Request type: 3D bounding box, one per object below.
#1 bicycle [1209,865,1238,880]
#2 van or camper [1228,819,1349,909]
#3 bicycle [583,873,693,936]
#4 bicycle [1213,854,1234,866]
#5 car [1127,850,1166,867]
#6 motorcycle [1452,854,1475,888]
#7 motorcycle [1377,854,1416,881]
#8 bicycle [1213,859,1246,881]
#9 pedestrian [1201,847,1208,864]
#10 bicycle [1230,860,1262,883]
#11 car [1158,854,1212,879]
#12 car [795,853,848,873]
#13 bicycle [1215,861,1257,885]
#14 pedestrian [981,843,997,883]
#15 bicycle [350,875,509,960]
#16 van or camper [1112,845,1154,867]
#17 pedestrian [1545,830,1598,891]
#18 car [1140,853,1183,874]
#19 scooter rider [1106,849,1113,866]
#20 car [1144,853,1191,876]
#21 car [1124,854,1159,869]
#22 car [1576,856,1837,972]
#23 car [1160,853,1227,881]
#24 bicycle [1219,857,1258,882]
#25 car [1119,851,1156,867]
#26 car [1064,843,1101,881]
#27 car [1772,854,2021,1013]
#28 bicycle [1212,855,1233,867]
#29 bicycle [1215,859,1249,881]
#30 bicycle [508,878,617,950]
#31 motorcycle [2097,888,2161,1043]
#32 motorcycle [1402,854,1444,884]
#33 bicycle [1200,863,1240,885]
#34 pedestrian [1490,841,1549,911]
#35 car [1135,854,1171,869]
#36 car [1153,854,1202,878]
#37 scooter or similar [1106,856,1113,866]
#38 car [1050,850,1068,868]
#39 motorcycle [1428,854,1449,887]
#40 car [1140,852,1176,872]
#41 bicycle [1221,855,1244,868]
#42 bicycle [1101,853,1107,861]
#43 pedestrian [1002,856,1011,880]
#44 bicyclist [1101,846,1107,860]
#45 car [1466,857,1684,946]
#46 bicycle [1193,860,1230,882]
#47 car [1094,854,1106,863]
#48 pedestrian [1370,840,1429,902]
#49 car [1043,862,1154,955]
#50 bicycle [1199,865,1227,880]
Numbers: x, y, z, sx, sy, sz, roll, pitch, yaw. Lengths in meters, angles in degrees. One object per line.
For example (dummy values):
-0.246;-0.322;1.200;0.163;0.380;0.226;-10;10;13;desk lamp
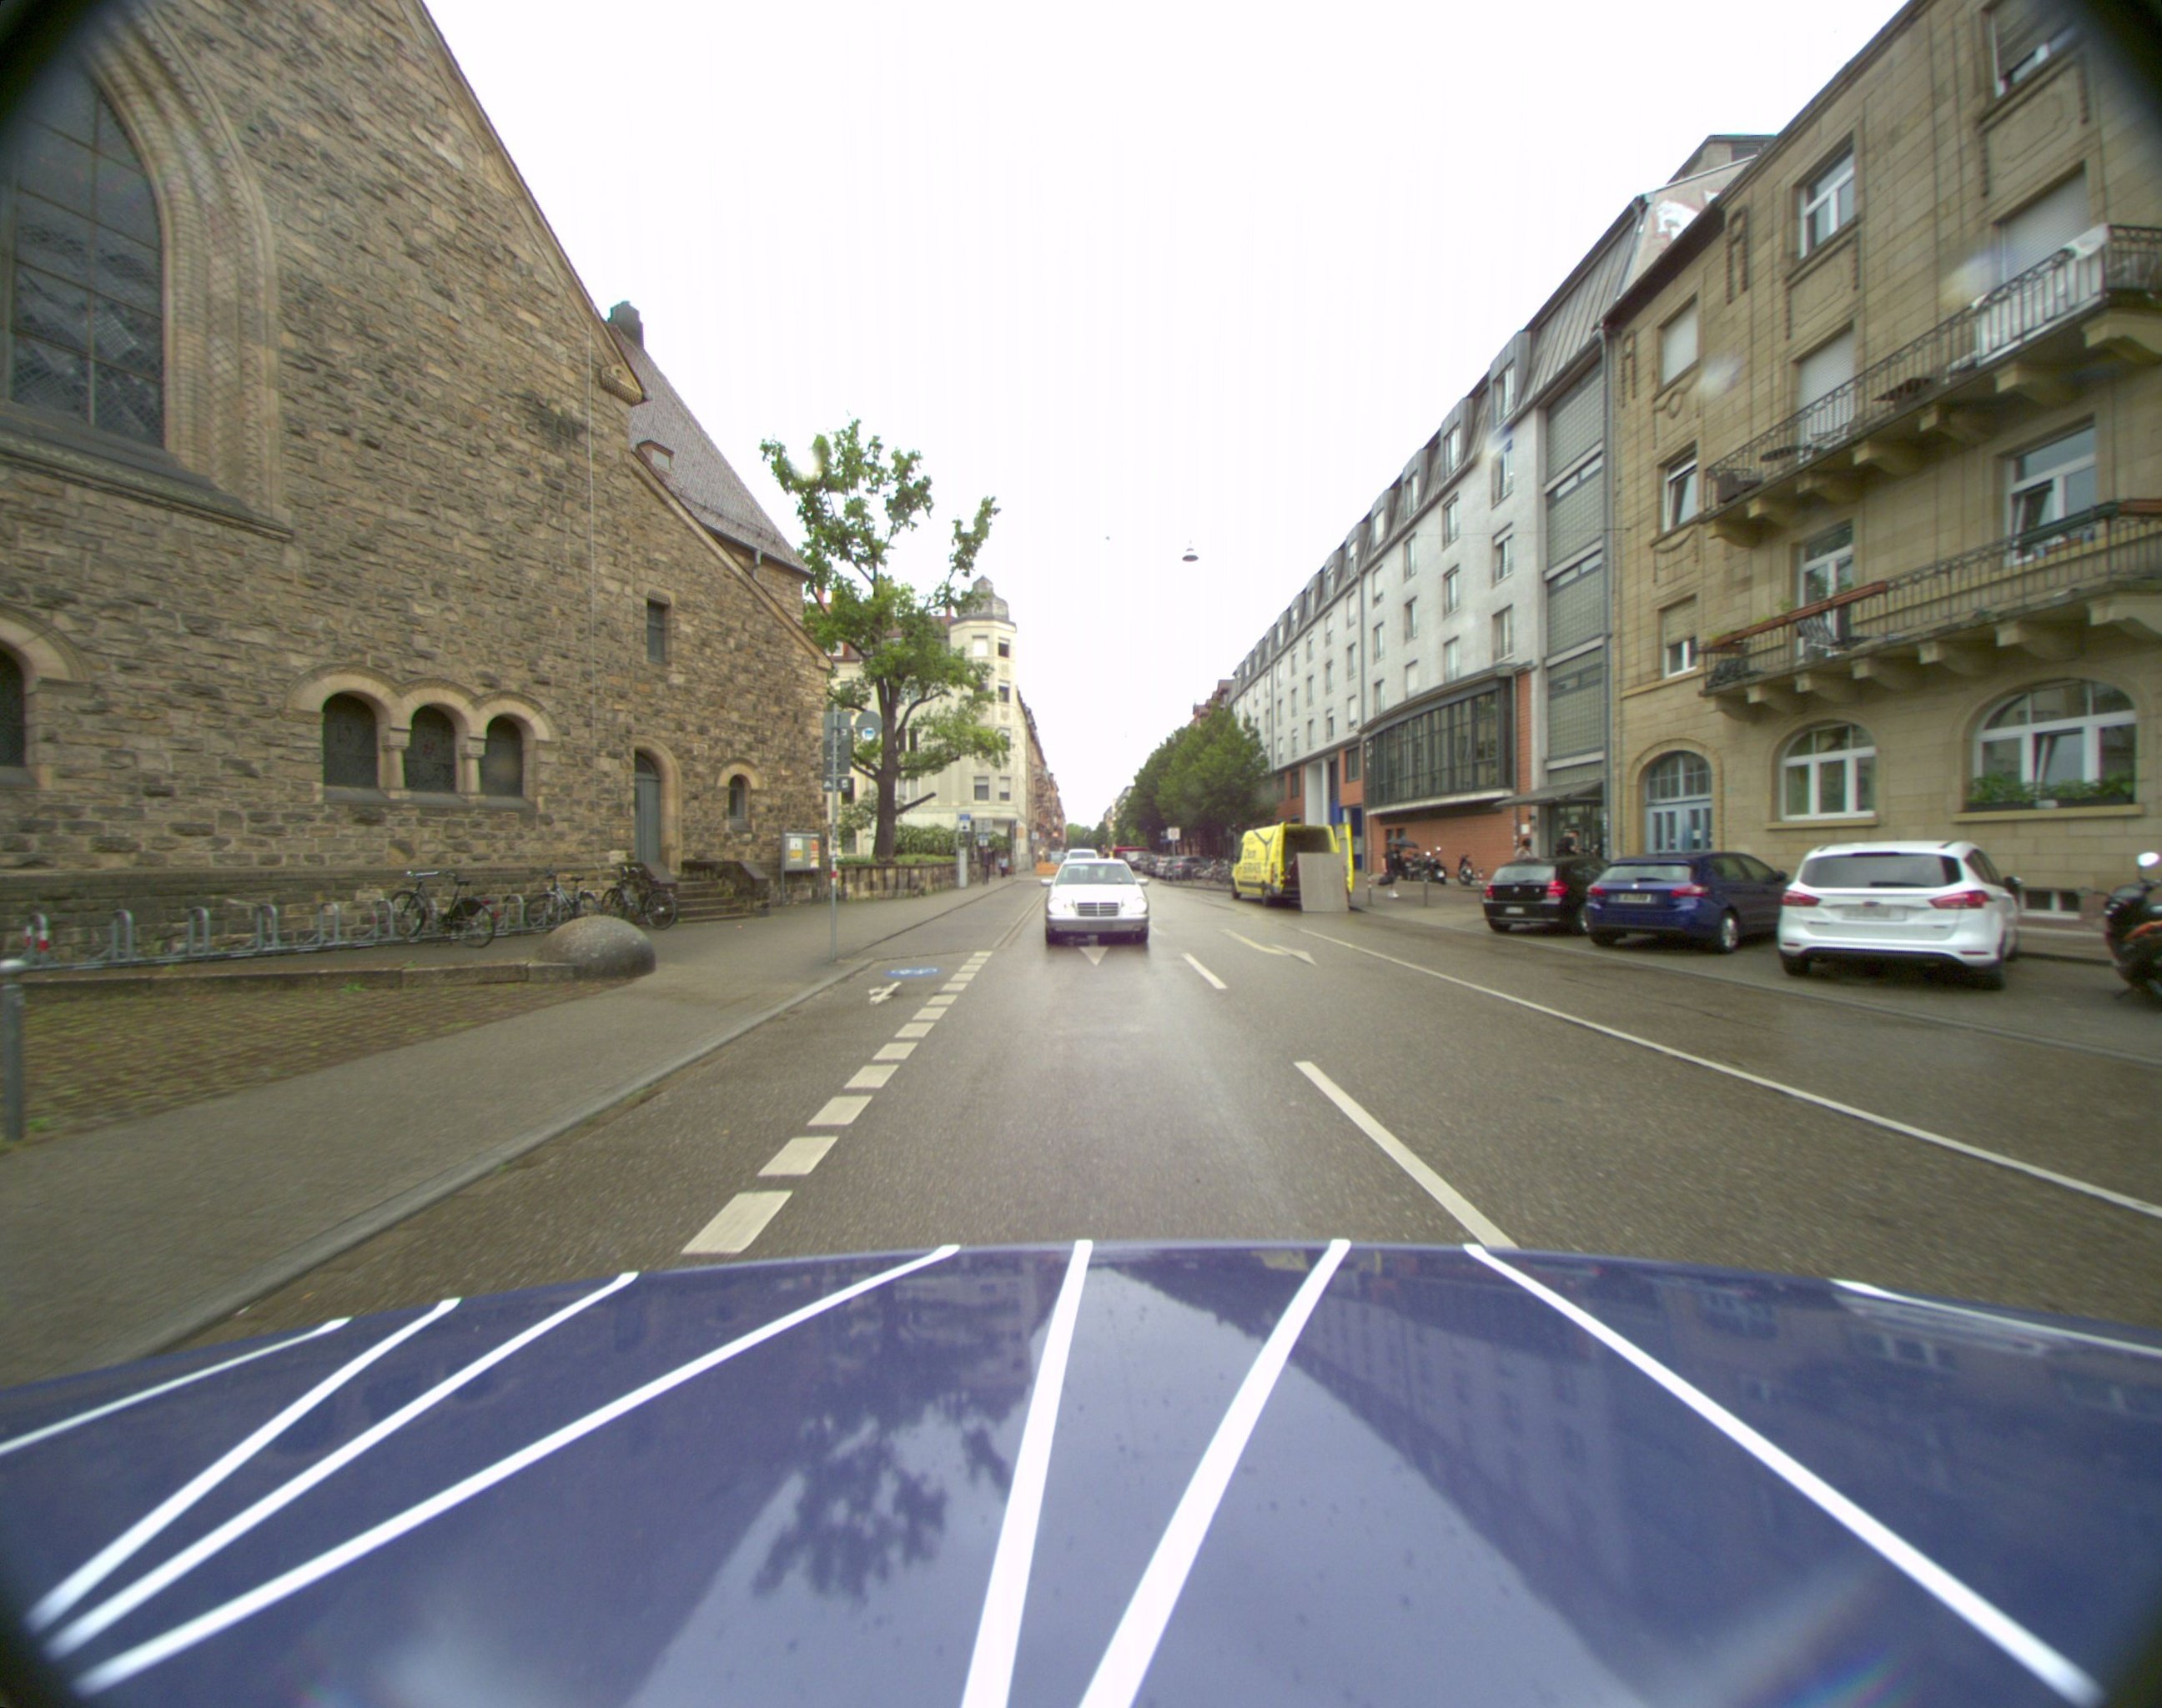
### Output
7.694;1.003;40.926;1.473;0.717;0.497;-2;1;3;bicycle
6.592;0.281;25.027;2.202;2.596;5.941;1;0;-2;van or camper
-8.215;0.912;14.088;1.986;1.048;0.513;2;1;15;bicycle
11.555;0.511;61.557;1.590;0.978;0.465;0;1;-7;bicycle
7.143;0.490;82.660;4.338;1.884;1.685;0;0;-40;car
13.795;0.606;27.456;0.524;1.174;1.760;-1;0;20;motorcycle
13.846;0.573;33.414;0.838;1.150;2.273;-1;0;2;motorcycle
7.797;0.849;39.923;1.610;1.099;0.520;-2;1;-4;bicycle
11.877;0.157;73.152;0.571;1.588;0.533;0;1;1;pedestrian
8.084;0.863;37.175;1.461;1.096;0.462;-1;1;15;bicycle
6.528;0.758;47.486;3.083;1.494;1.449;-1;0;-31;car
-18.337;0.635;53.783;3.270;1.401;1.448;1;0;3;car
7.301;0.885;35.902;1.857;1.067;0.609;-1;1;6;bicycle
-4.394;0.421;36.410;0.646;1.862;0.693;1;1;0;pedestrian
-9.470;0.894;11.056;1.987;1.099;0.692;2;1;12;bicycle
6.291;0.257;92.170;4.604;2.597;1.999;0;0;-26;van or camper
14.043;0.182;21.791;1.008;1.718;0.787;0;1;-8;pedestrian
6.232;0.712;58.725;2.985;1.546;1.369;-1;0;-28;car
3.324;0.380;88.906;0.712;1.924;0.503;0;1;-1;scooter rider
6.043;0.715;52.986;3.084;1.543;1.448;-1;0;-40;car
6.298;0.776;78.436;1.685;1.481;3.799;1;0;41;car
9.994;0.828;12.112;4.050;1.564;1.794;0;0;-28;car
6.617;0.749;44.558;3.629;1.494;1.736;-1;1;-31;car
7.877;0.777;38.032;1.815;1.187;0.519;-2;1;-12;bicycle
6.393;0.585;86.181;4.338;1.822;1.571;0;0;-40;car
0.140;0.421;42.408;1.998;2.002;4.000;0;0;1;car
10.128;0.772;9.366;4.052;1.546;1.793;0;0;-39;car
11.094;0.540;59.533;1.590;0.978;0.465;0;1;-7;bicycle
7.786;0.813;39.229;1.611;1.099;0.519;-2;1;-12;bicycle
-8.913;1.003;13.065;1.711;1.105;0.562;2;1;15;bicycle
9.825;0.967;6.925;1.875;1.155;0.632;-3;2;-36;motorcycle
13.979;0.599;31.102;0.651;1.150;2.205;-1;0;-1;motorcycle
6.733;0.954;36.747;1.800;0.987;0.520;-2;1;-2;bicycle
11.254;0.557;19.525;0.787;1.718;1.172;-2;1;-1;pedestrian
7.206;0.760;75.910;1.685;1.481;3.799;1;0;41;car
6.368;0.757;50.097;3.084;1.494;1.448;-1;0;-40;car
3.324;0.816;88.924;0.702;1.158;1.385;0;0;-1;scooter or similar
-2.213;0.501;77.118;1.726;1.794;3.462;1;0;0;car
13.586;0.612;28.931;0.524;1.174;2.007;-1;0;20;motorcycle
6.237;0.653;61.482;2.685;1.546;1.148;-1;0;-28;car
11.419;0.571;57.254;1.590;0.978;0.465;0;1;-7;bicycle
2.567;0.367;85.015;0.536;0.879;1.780;0;0;-1;bicycle
-4.512;0.856;46.174;0.482;1.452;0.392;1;1;0;pedestrian
2.578;-0.139;84.785;0.536;1.521;1.134;0;1;-1;bicyclist
9.598;0.825;14.735;4.050;1.503;1.794;0;0;-28;car
6.952;0.894;40.478;1.812;1.099;0.472;-2;1;-4;bicycle
2.833;0.654;114.706;1.651;1.301;3.311;1;0;-2;car
9.841;0.508;23.517;1.353;1.835;1.061;-2;1;1;pedestrian
0.297;0.893;14.135;1.764;1.420;4.000;0;0;1;car
7.212;1.007;41.504;1.473;0.800;0.497;-2;1;3;bicycle
